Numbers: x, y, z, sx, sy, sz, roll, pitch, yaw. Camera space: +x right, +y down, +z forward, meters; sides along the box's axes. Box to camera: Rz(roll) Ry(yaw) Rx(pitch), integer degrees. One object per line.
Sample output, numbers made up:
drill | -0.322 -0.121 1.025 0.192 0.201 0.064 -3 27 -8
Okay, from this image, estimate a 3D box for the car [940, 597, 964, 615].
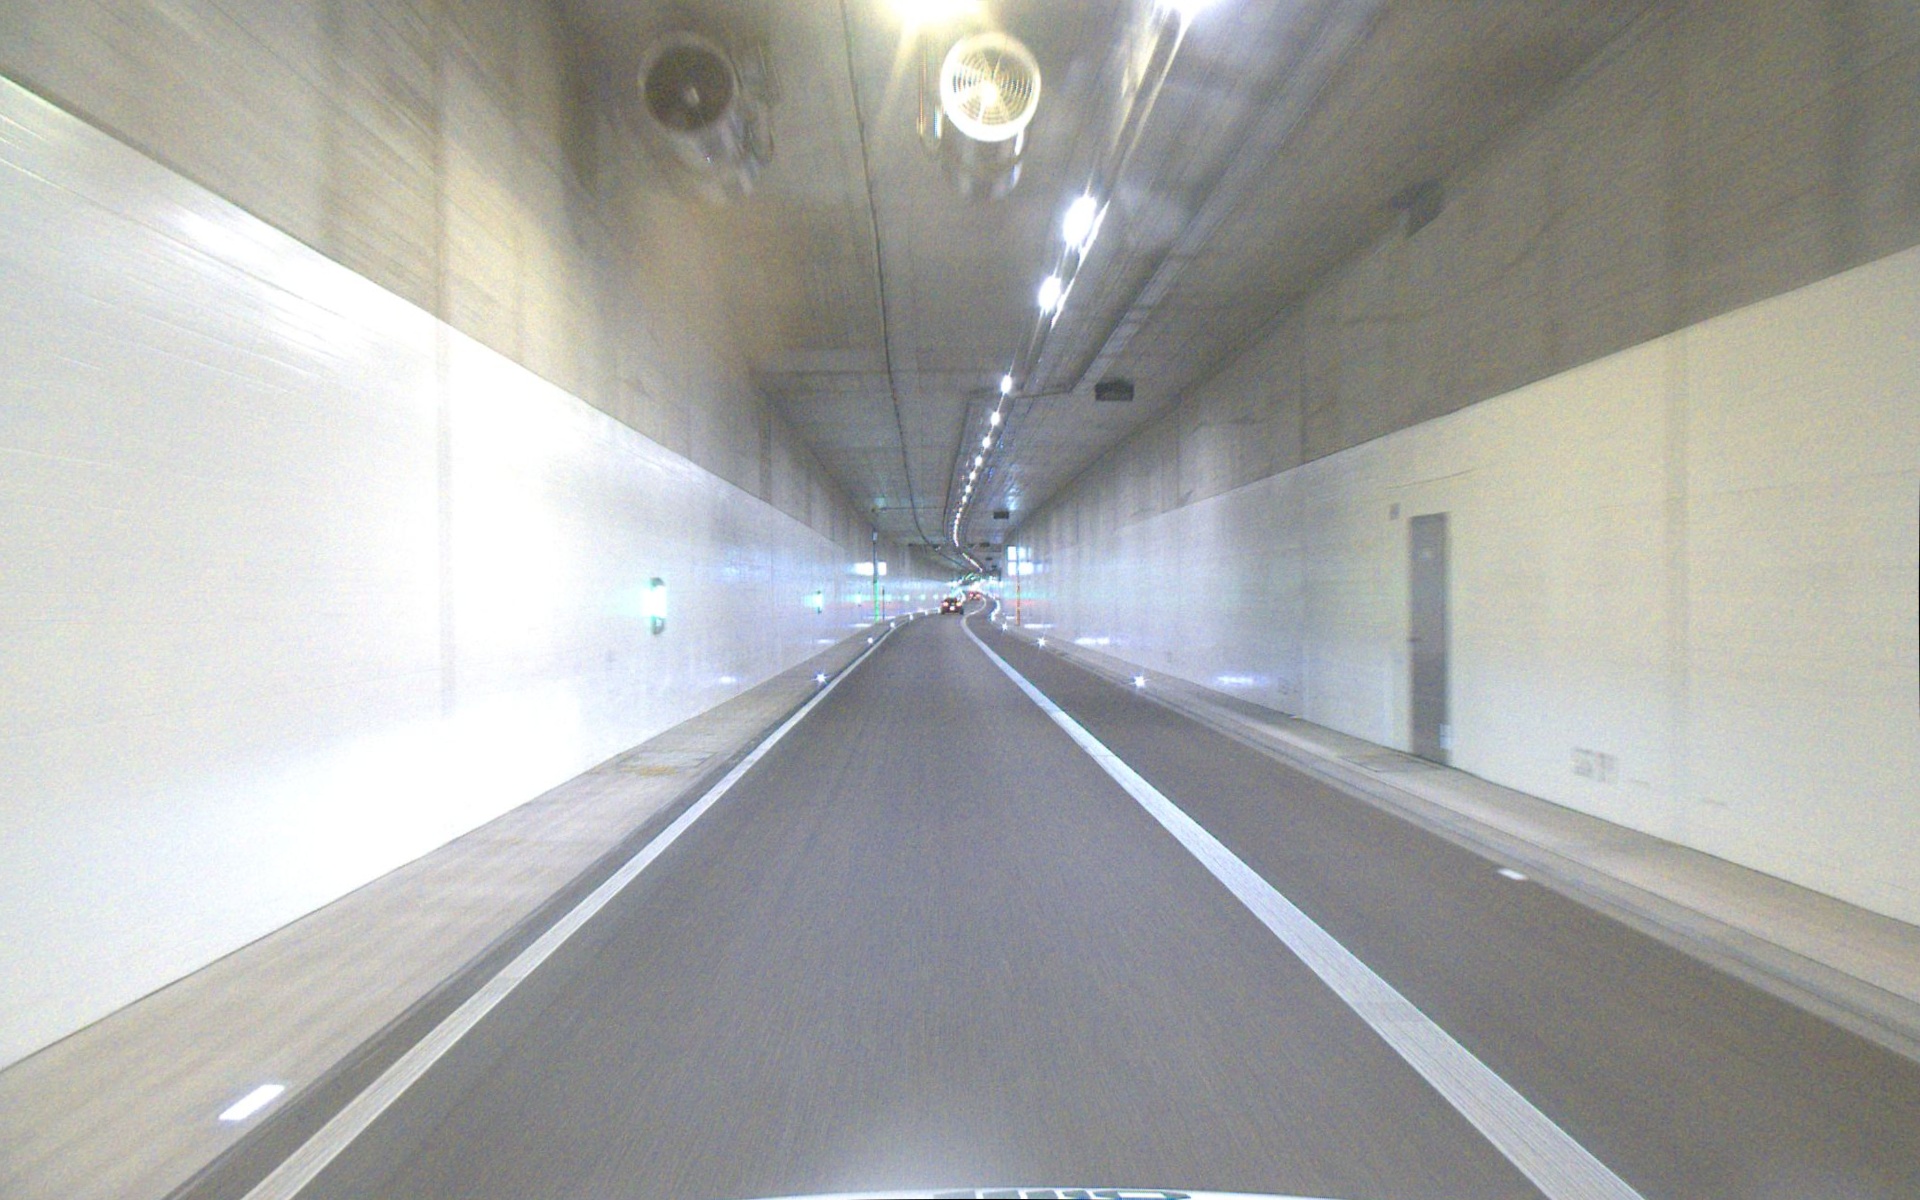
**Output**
car | -0.652 0.524 137.468 1.953 1.445 3.999 1 0 -1
